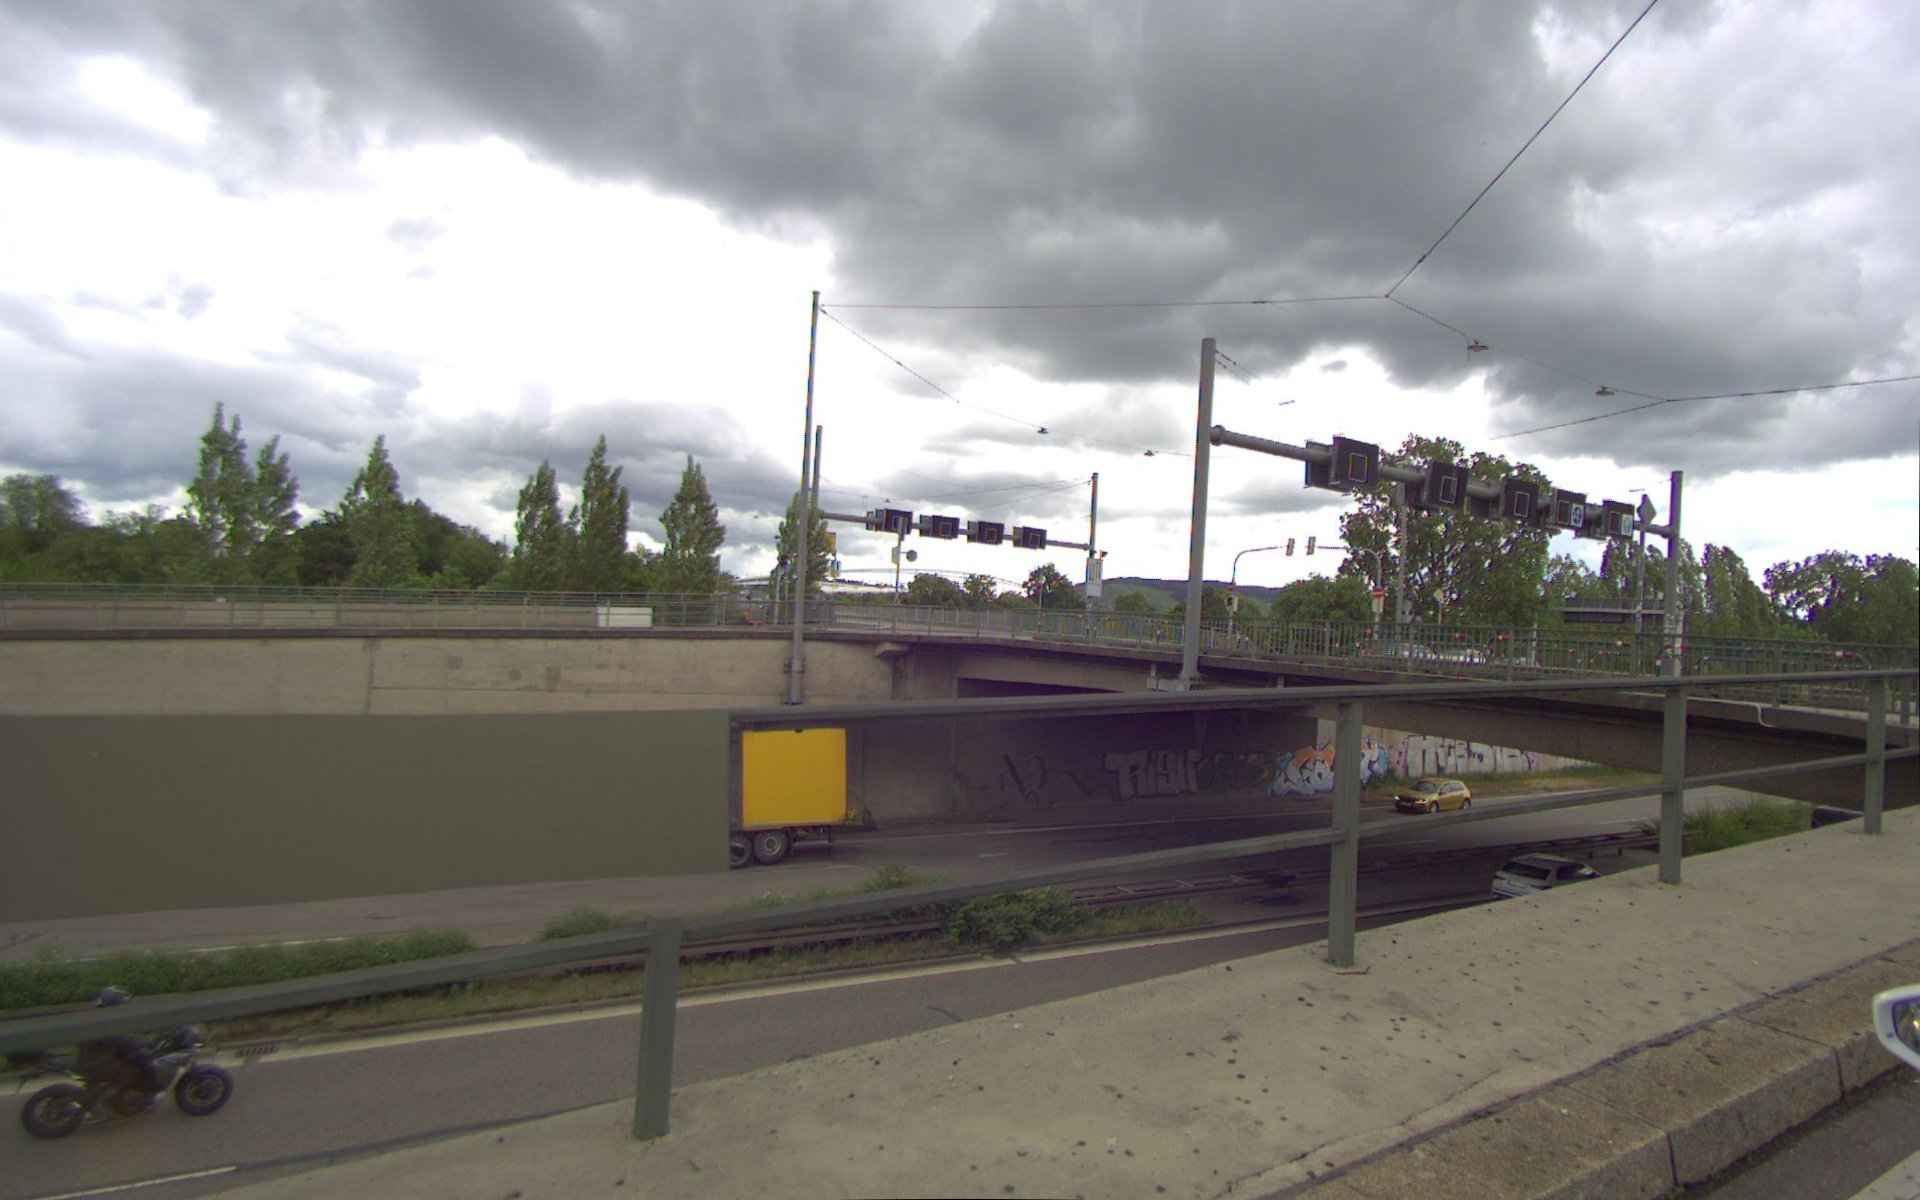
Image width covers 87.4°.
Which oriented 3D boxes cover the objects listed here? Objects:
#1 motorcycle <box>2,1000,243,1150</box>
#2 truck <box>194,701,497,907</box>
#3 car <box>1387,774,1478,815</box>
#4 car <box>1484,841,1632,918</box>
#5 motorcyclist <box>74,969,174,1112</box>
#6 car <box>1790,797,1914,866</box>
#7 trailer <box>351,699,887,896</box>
[{"bbox_3d":[-10.099,5.720,12.219,2.101,1.219,0.591,4,-2,-29],"label":"motorcycle"},{"bbox_3d":[-14.771,4.751,24.657,5.736,4.236,3.226,4,-3,-30],"label":"truck"},{"bbox_3d":[21.984,9.011,46.717,4.106,1.476,1.859,4,-3,-30],"label":"car"},{"bbox_3d":[16.720,7.735,28.031,4.363,1.440,1.611,4,-3,-29],"label":"car"},{"bbox_3d":[-10.128,5.314,12.198,0.753,1.389,0.591,4,-1,-29],"label":"motorcyclist"},{"bbox_3d":[34.600,8.900,38.928,5.191,2.040,1.985,4,-2,-29],"label":"car"},{"bbox_3d":[-8.906,5.185,28.076,13.521,4.317,3.226,5,-3,-30],"label":"trailer"}]
